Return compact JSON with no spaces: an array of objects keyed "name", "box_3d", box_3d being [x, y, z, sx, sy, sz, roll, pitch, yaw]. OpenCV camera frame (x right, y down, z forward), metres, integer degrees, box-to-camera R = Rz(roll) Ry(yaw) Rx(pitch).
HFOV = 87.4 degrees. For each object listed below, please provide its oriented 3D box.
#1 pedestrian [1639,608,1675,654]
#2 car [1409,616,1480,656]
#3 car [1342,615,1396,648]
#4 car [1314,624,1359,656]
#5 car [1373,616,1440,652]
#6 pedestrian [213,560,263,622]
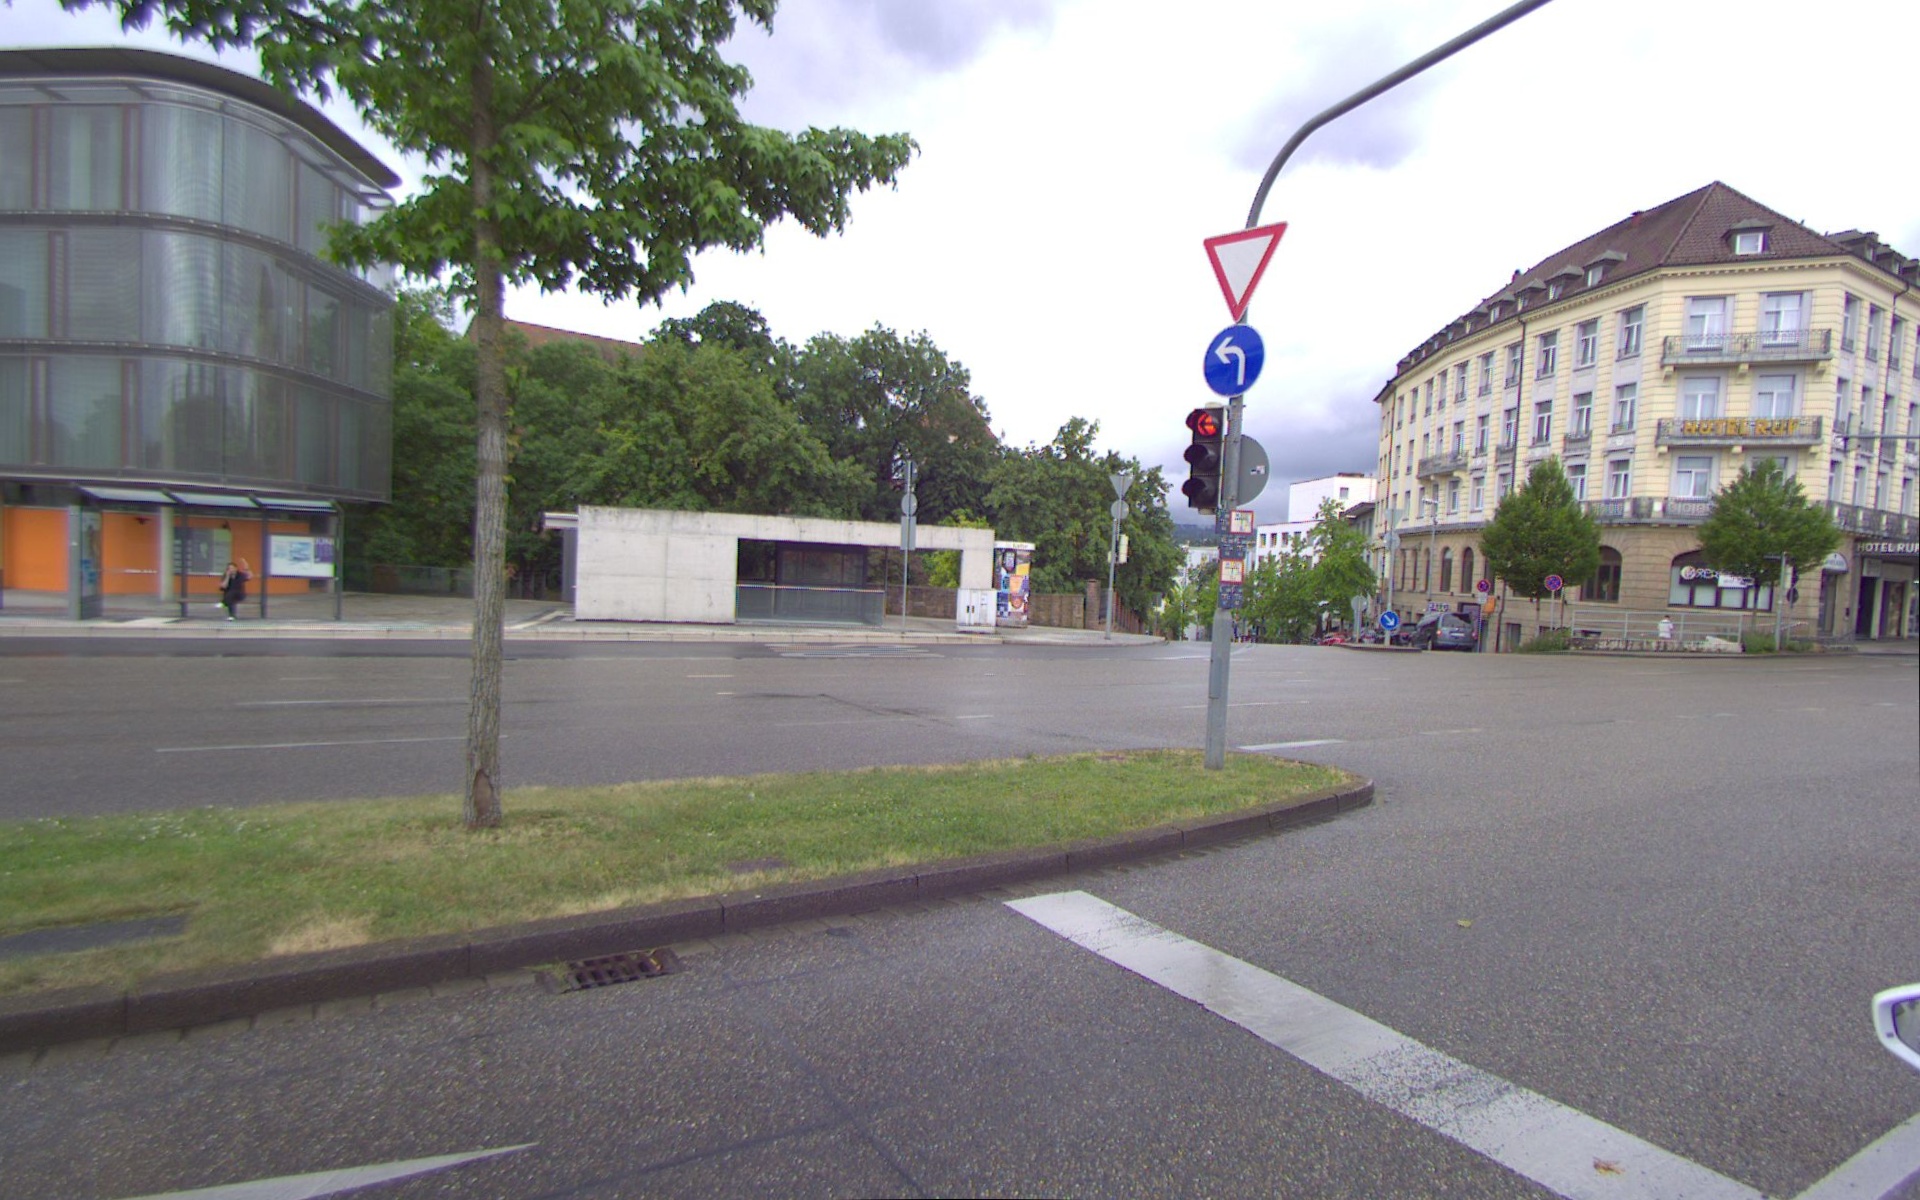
[{"name":"pedestrian","box_3d":[29.471,1.301,42.466,1.010,1.903,0.859,1,1,-30]},{"name":"car","box_3d":[21.744,1.575,45.195,1.764,1.589,4.002,2,1,9]},{"name":"car","box_3d":[23.171,1.772,57.001,1.757,1.662,3.916,2,1,6]},{"name":"car","box_3d":[23.595,2.477,63.055,1.741,1.836,3.624,2,1,7]},{"name":"car","box_3d":[22.916,1.717,51.702,1.959,1.662,4.002,2,0,6]},{"name":"pedestrian","box_3d":[-16.074,-0.190,22.386,0.780,1.341,0.798,1,1,-28]}]
